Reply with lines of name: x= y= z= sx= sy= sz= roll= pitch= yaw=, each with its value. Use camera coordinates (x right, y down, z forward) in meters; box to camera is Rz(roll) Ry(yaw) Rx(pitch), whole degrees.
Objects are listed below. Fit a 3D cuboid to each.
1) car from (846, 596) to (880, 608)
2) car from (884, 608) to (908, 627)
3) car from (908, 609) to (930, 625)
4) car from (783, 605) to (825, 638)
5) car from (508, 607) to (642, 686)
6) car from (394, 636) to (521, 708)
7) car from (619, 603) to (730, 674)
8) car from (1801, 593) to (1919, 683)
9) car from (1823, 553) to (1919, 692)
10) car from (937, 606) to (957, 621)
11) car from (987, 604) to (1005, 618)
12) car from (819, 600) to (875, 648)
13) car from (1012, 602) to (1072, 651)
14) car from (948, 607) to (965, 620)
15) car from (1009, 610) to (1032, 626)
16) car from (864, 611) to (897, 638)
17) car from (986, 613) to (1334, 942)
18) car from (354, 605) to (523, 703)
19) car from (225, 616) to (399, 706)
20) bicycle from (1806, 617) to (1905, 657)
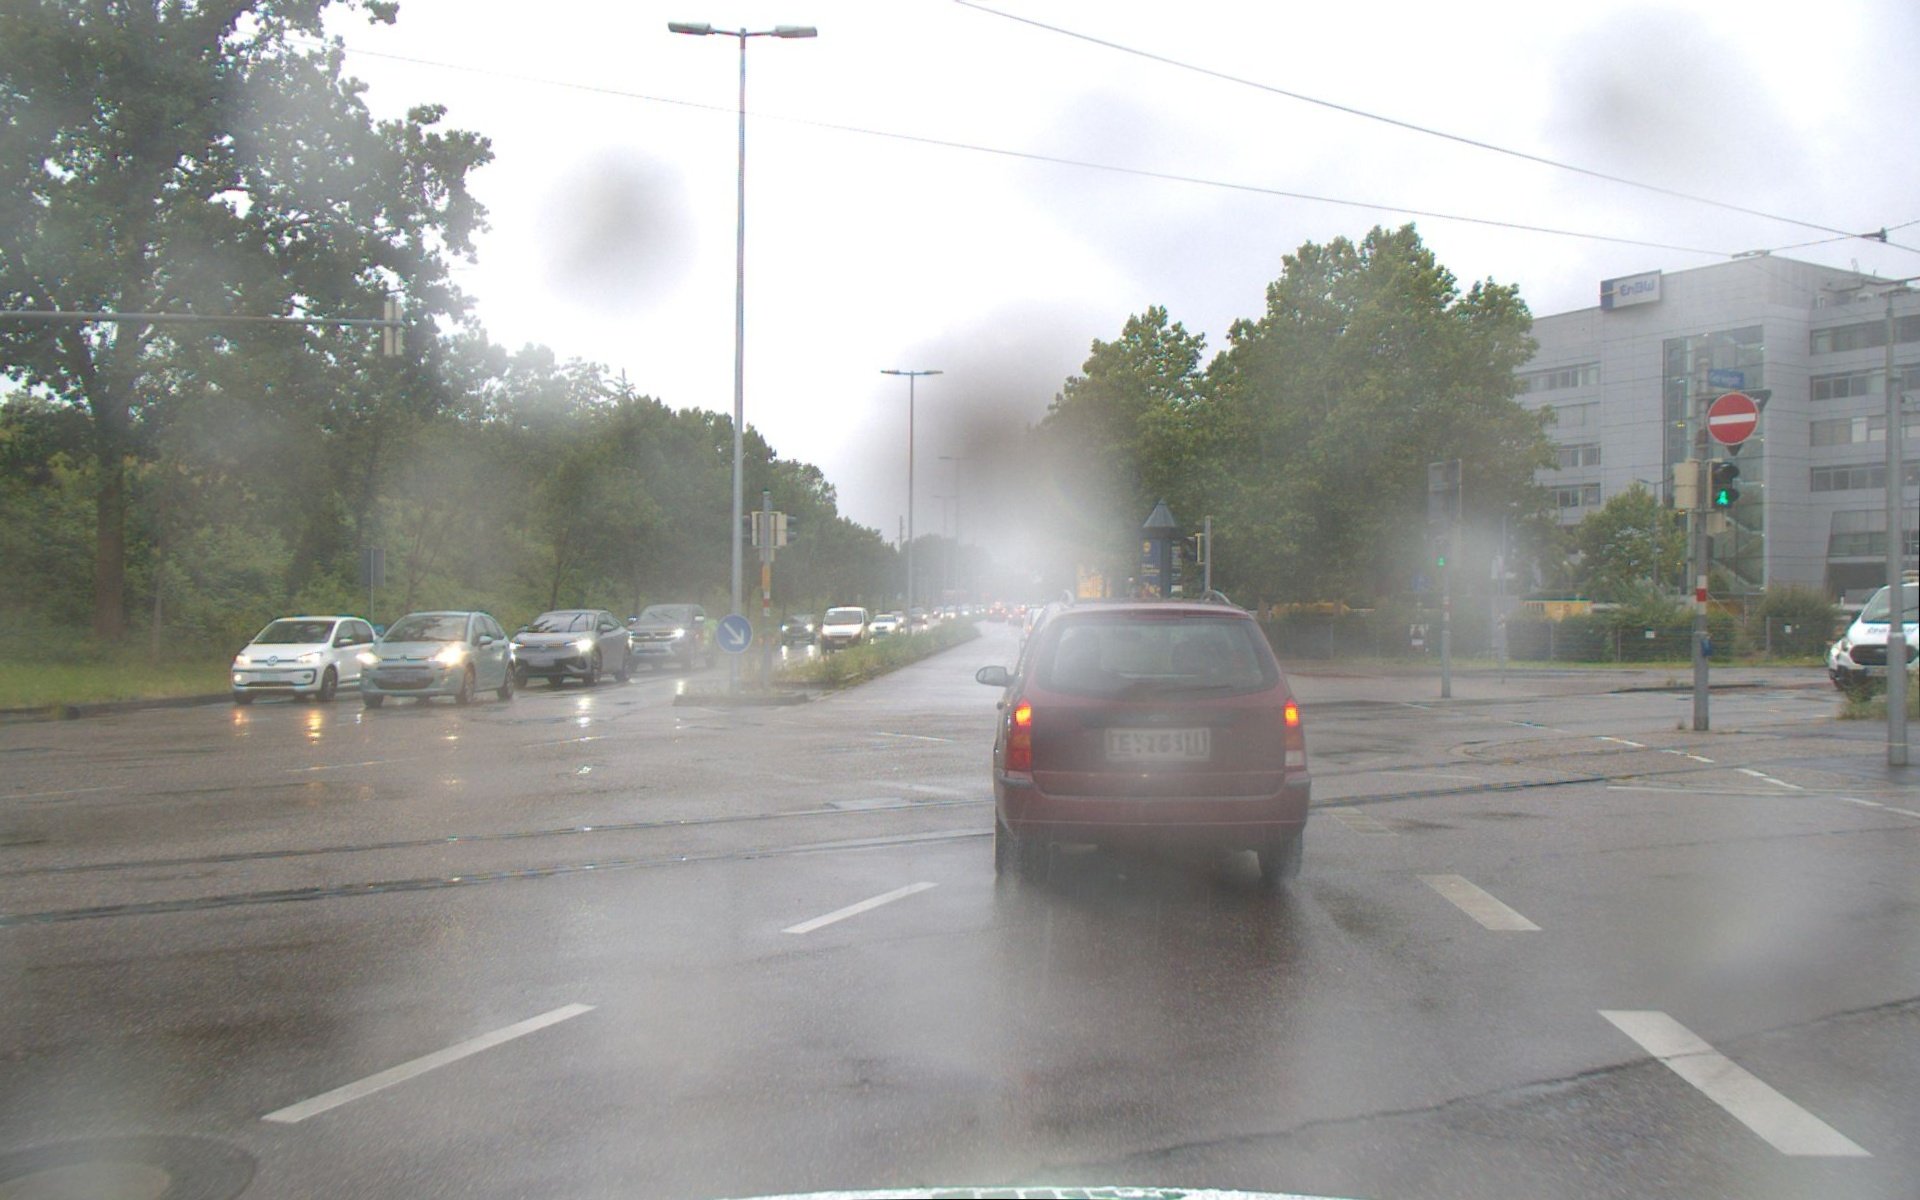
car: x=-12.854 y=0.270 z=219.047 sx=4.230 sy=1.625 sz=1.947 roll=0 pitch=0 yaw=-33
car: x=-5.766 y=1.565 z=150.172 sx=1.922 sy=1.625 sz=4.284 roll=0 pitch=0 yaw=1
car: x=-4.111 y=1.691 z=165.655 sx=1.922 sy=1.625 sz=4.284 roll=0 pitch=0 yaw=1
car: x=-8.565 y=1.165 z=90.977 sx=1.708 sy=1.732 sz=4.284 roll=2 pitch=0 yaw=1
car: x=-8.362 y=0.987 z=36.342 sx=1.726 sy=1.614 sz=4.813 roll=0 pitch=-1 yaw=1
car: x=-11.053 y=1.552 z=36.622 sx=1.557 sy=1.428 sz=3.823 roll=0 pitch=0 yaw=1
car: x=-7.911 y=1.022 z=46.386 sx=2.023 sy=1.851 sz=5.542 roll=0 pitch=0 yaw=1
car: x=18.461 y=0.707 z=32.259 sx=4.327 sy=1.649 sz=1.756 roll=0 pitch=-1 yaw=-33
car: x=16.453 y=0.371 z=27.333 sx=4.633 sy=2.163 sz=1.976 roll=1 pitch=-1 yaw=-35
car: x=-1.410 y=1.495 z=182.458 sx=1.922 sy=1.625 sz=4.285 roll=0 pitch=0 yaw=2
car: x=3.856 y=1.168 z=177.244 sx=1.662 sy=1.554 sz=3.847 roll=0 pitch=0 yaw=4
car: x=-4.305 y=0.908 z=63.613 sx=1.707 sy=1.732 sz=4.284 roll=-2 pitch=0 yaw=1
car: x=3.099 y=0.969 z=63.052 sx=1.702 sy=1.756 sz=4.239 roll=2 pitch=0 yaw=-5
car: x=-0.426 y=1.677 z=207.392 sx=1.922 sy=1.625 sz=4.285 roll=0 pitch=0 yaw=2
car: x=5.988 y=1.750 z=162.488 sx=2.102 sy=1.554 sz=4.194 roll=0 pitch=0 yaw=5
car: x=-5.275 y=1.596 z=110.229 sx=1.922 sy=1.732 sz=4.284 roll=0 pitch=0 yaw=1
car: x=1.007 y=0.864 z=9.790 sx=1.608 sy=1.490 sz=3.733 roll=2 pitch=0 yaw=2
car: x=-8.565 y=0.845 z=27.504 sx=1.605 sy=1.499 sz=3.964 roll=0 pitch=0 yaw=-1
car: x=-11.525 y=1.038 z=29.676 sx=1.604 sy=1.478 sz=3.787 roll=0 pitch=0 yaw=0
bicycle: x=24.362 y=1.012 z=45.030 sx=2.259 sy=1.065 sz=0.849 roll=-1 pitch=-1 yaw=22
